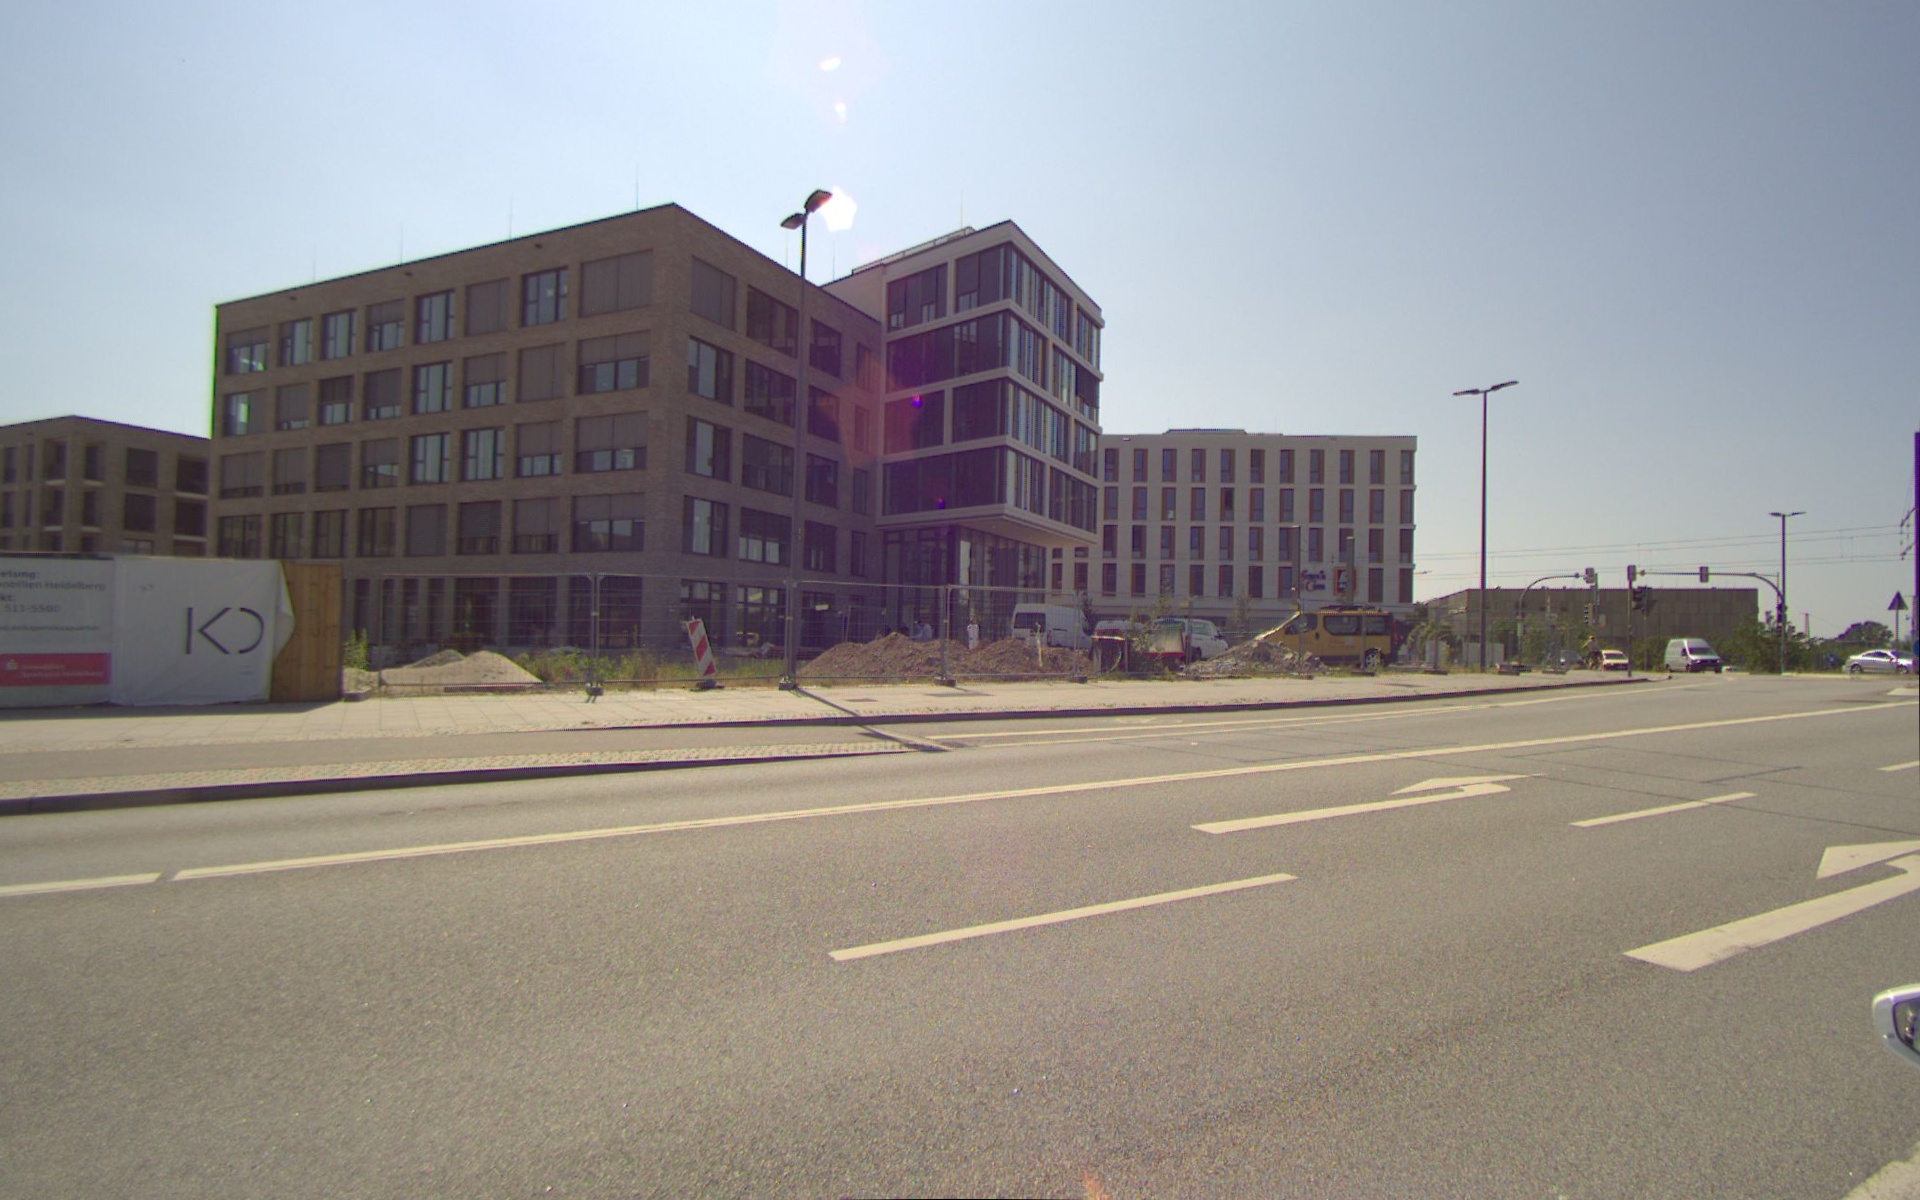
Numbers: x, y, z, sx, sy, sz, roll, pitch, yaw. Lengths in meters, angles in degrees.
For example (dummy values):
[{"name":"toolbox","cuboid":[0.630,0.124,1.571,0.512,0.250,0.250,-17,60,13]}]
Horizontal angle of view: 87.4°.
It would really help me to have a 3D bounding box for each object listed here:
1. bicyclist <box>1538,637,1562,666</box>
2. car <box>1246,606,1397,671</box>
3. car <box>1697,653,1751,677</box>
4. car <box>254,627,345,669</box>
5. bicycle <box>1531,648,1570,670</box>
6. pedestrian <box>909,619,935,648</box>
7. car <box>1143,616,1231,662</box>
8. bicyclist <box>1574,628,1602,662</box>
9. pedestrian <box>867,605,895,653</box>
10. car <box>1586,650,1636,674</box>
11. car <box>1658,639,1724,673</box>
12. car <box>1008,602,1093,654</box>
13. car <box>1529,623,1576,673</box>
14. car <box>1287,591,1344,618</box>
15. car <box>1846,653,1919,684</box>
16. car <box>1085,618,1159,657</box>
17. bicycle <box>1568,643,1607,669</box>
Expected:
[{"name":"bicyclist","cuboid":[33.194,2.908,56.509,0.846,1.580,0.825,2,0,2]},{"name":"car","cuboid":[12.056,1.251,33.776,4.395,1.915,2.001,2,0,8]},{"name":"car","cuboid":[63.400,5.389,83.450,1.796,1.666,4.212,2,0,10]},{"name":"car","cuboid":[-30.414,2.177,46.232,3.708,1.675,1.834,2,0,26]},{"name":"bicycle","cuboid":[33.175,3.335,56.481,0.714,1.148,2.534,-3,-4,2]},{"name":"pedestrian","cuboid":[-1.854,1.651,49.400,1.099,1.391,0.742,2,0,-17]},{"name":"car","cuboid":[9.570,1.619,42.147,1.969,1.730,4.546,2,0,35]},{"name":"bicyclist","cuboid":[30.492,2.183,48.790,0.806,1.589,0.949,2,0,7]},{"name":"pedestrian","cuboid":[-3.407,1.246,43.334,0.949,2.040,0.940,2,0,-17]},{"name":"car","cuboid":[49.827,4.740,76.927,1.606,1.544,3.499,2,0,2]},{"name":"car","cuboid":[51.316,3.908,70.661,1.761,2.147,4.843,2,0,10]},{"name":"car","cuboid":[4.055,1.228,44.636,2.175,2.083,4.164,2,0,30]},{"name":"car","cuboid":[26.250,2.083,44.447,1.646,2.040,3.990,2,0,32]},{"name":"car","cuboid":[28.983,0.349,81.964,1.986,2.040,3.949,2,0,-43]},{"name":"car","cuboid":[48.611,3.559,52.263,1.737,1.350,3.715,2,0,1]},{"name":"car","cuboid":[7.106,1.602,43.697,1.773,1.528,3.991,2,0,31]},{"name":"bicycle","cuboid":[30.459,2.718,48.778,0.664,1.142,2.367,2,0,8]}]
